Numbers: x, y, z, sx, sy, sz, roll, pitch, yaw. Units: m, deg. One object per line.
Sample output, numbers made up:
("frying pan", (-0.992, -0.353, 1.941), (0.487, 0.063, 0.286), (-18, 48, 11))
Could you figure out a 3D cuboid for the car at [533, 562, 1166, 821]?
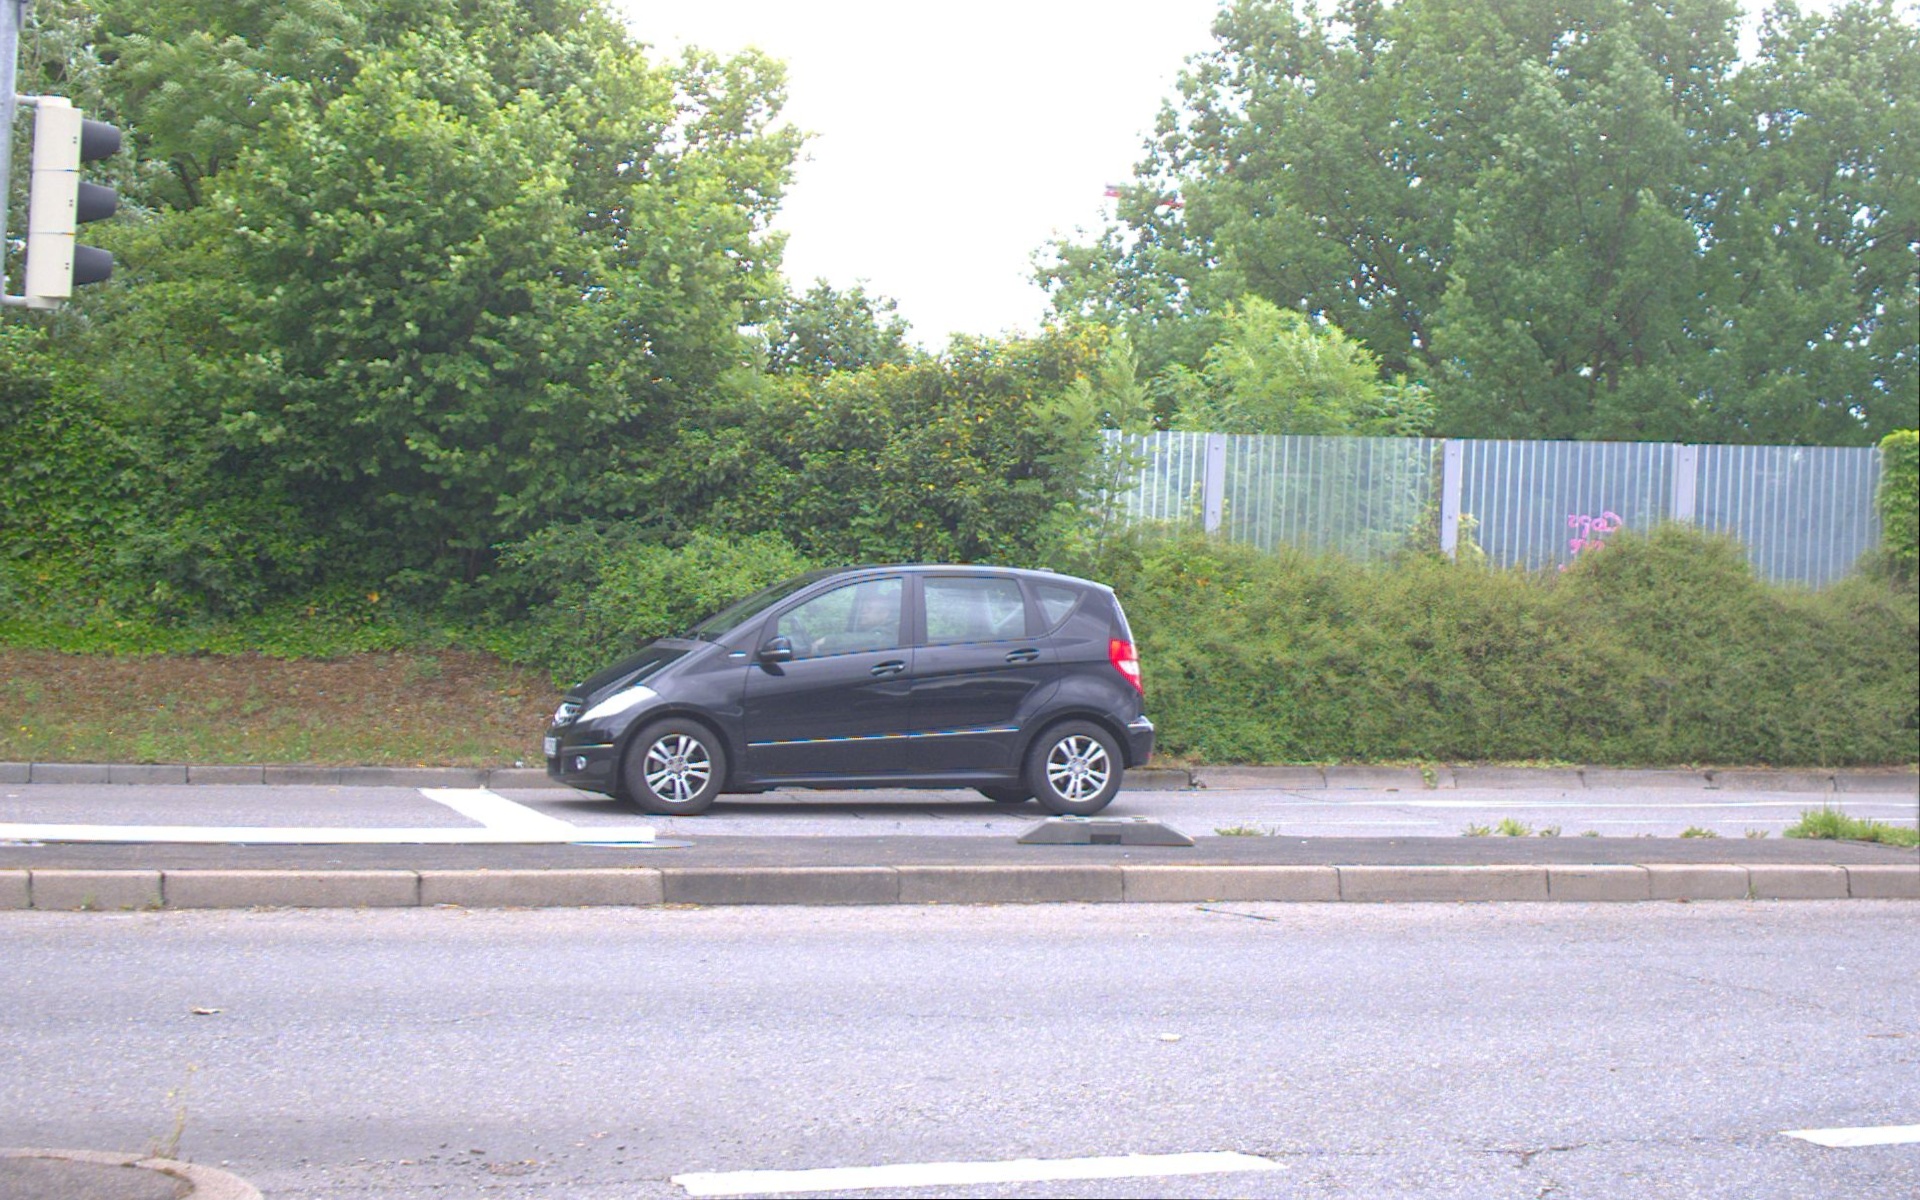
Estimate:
("car", (-0.740, 0.597, 22.046), (3.775, 1.547, 1.644), (1, -1, -14))
